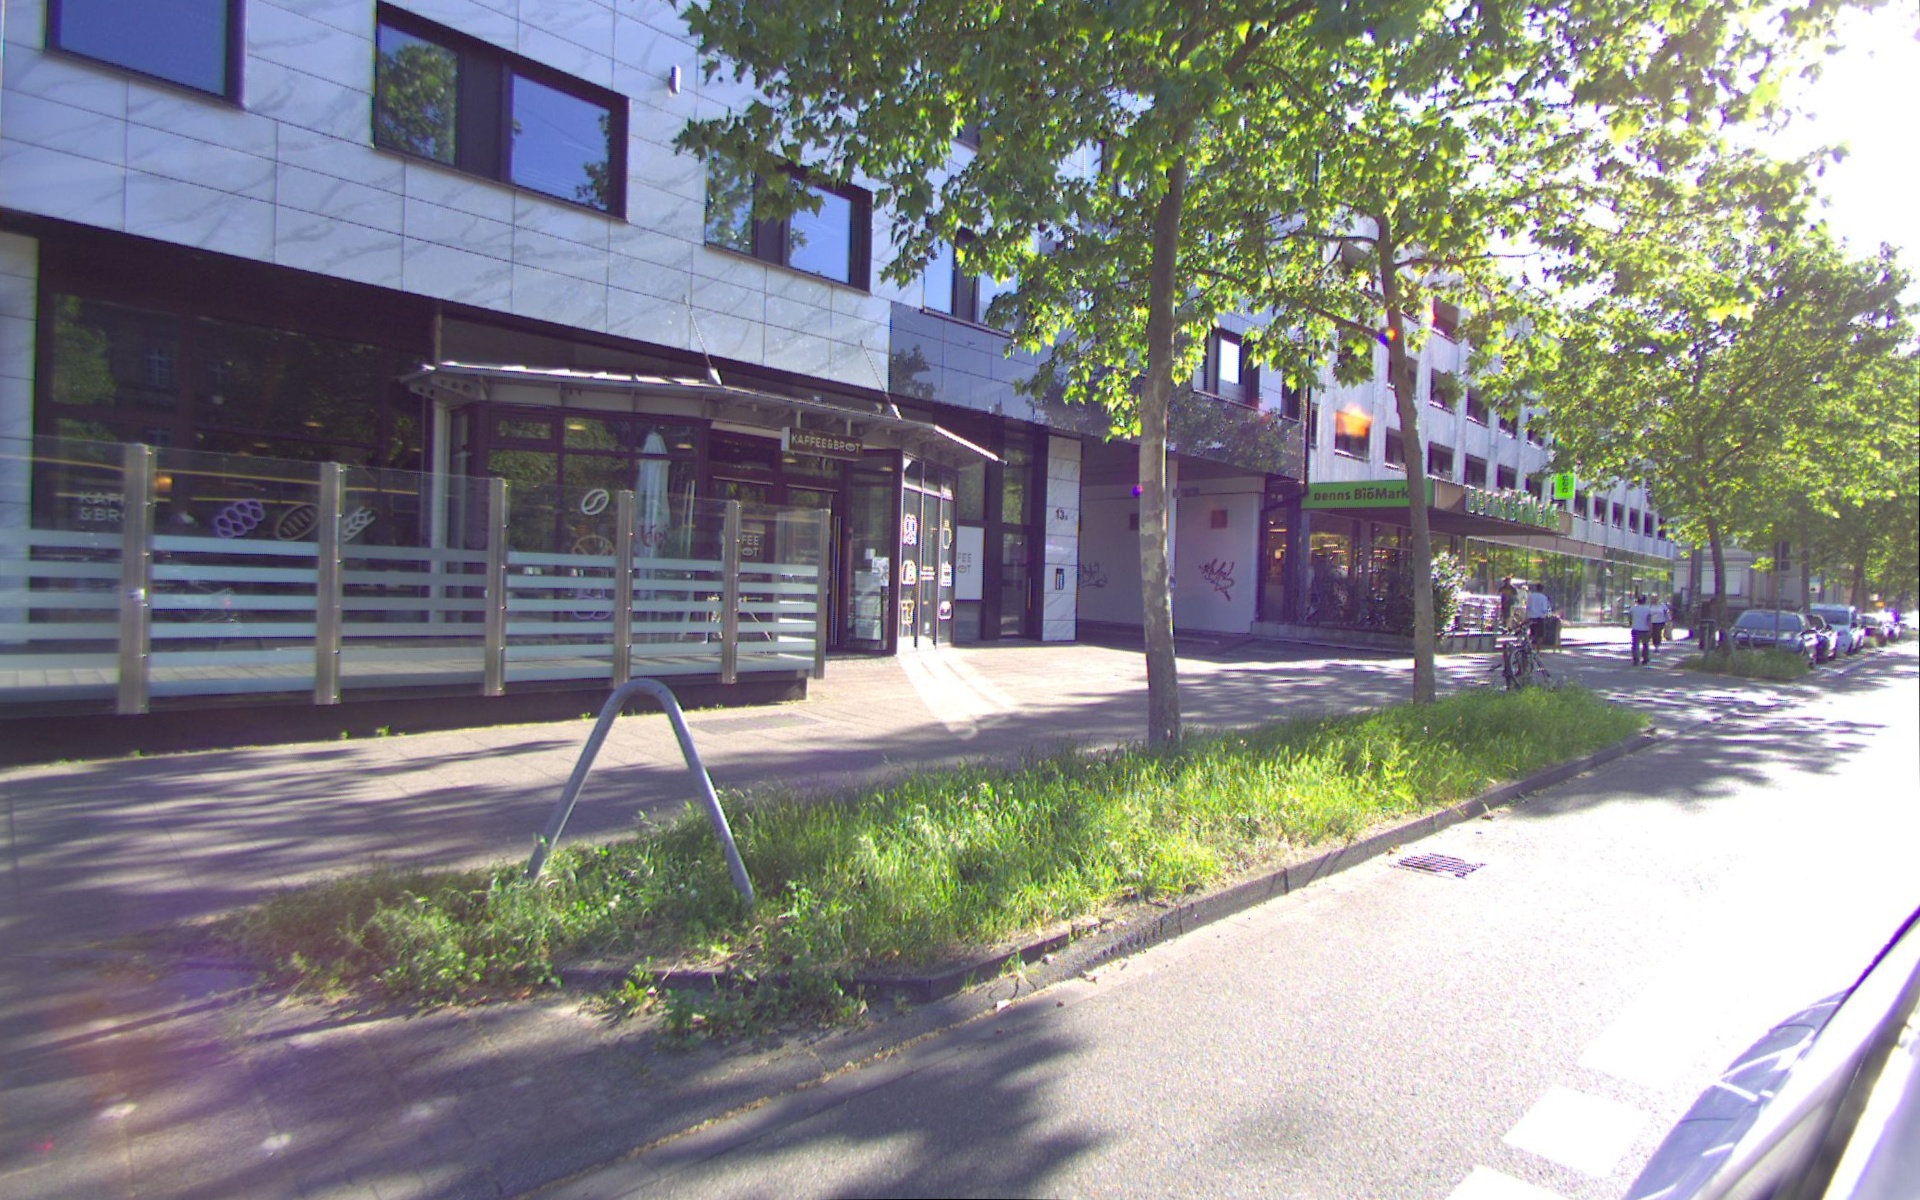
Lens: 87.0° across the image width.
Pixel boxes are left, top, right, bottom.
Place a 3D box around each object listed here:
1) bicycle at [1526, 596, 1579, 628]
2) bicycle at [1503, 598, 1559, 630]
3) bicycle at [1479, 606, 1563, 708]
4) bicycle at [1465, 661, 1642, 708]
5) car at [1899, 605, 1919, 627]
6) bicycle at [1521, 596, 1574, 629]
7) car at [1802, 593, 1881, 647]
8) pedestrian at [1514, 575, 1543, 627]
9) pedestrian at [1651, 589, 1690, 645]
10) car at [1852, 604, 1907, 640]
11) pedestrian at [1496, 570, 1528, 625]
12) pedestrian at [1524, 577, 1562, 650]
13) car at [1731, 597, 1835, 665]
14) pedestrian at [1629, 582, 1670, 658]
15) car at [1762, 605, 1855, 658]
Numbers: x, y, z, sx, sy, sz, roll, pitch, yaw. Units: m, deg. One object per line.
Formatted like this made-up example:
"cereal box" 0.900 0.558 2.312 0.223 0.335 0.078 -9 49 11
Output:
"bicycle" 22.419 0.442 38.314 0.573 1.068 1.710 3 3 -17
"bicycle" 19.519 0.460 34.616 0.573 0.927 1.656 5 2 -17
"bicycle" 7.186 0.679 12.917 0.785 1.147 1.824 2 1 33
"bicycle" 7.439 1.033 12.700 1.366 0.357 1.610 1 2 -44
"car" 72.570 1.191 76.689 4.203 1.584 1.836 0 1 -44
"bicycle" 21.763 0.452 37.509 0.573 1.068 1.710 4 2 -17
"car" 32.604 0.716 37.393 4.319 1.814 1.766 1 2 -44
"pedestrian" 20.154 0.026 35.889 0.607 1.735 0.609 8 4 21
"pedestrian" 21.545 0.502 30.681 0.853 1.632 0.699 1 3 -42
"car" 43.599 1.013 47.965 1.674 1.455 3.631 6 4 45
"pedestrian" 17.326 -0.080 31.739 0.868 1.698 0.558 1 3 -45
"pedestrian" 14.574 0.325 25.304 0.864 1.766 0.560 1 2 -44
"car" 21.117 0.742 25.921 3.933 1.570 1.566 0 1 -44
"pedestrian" 16.227 0.465 23.809 1.035 1.725 0.560 1 2 -45
"car" 25.785 0.899 30.694 4.624 1.436 1.762 0 1 -45
